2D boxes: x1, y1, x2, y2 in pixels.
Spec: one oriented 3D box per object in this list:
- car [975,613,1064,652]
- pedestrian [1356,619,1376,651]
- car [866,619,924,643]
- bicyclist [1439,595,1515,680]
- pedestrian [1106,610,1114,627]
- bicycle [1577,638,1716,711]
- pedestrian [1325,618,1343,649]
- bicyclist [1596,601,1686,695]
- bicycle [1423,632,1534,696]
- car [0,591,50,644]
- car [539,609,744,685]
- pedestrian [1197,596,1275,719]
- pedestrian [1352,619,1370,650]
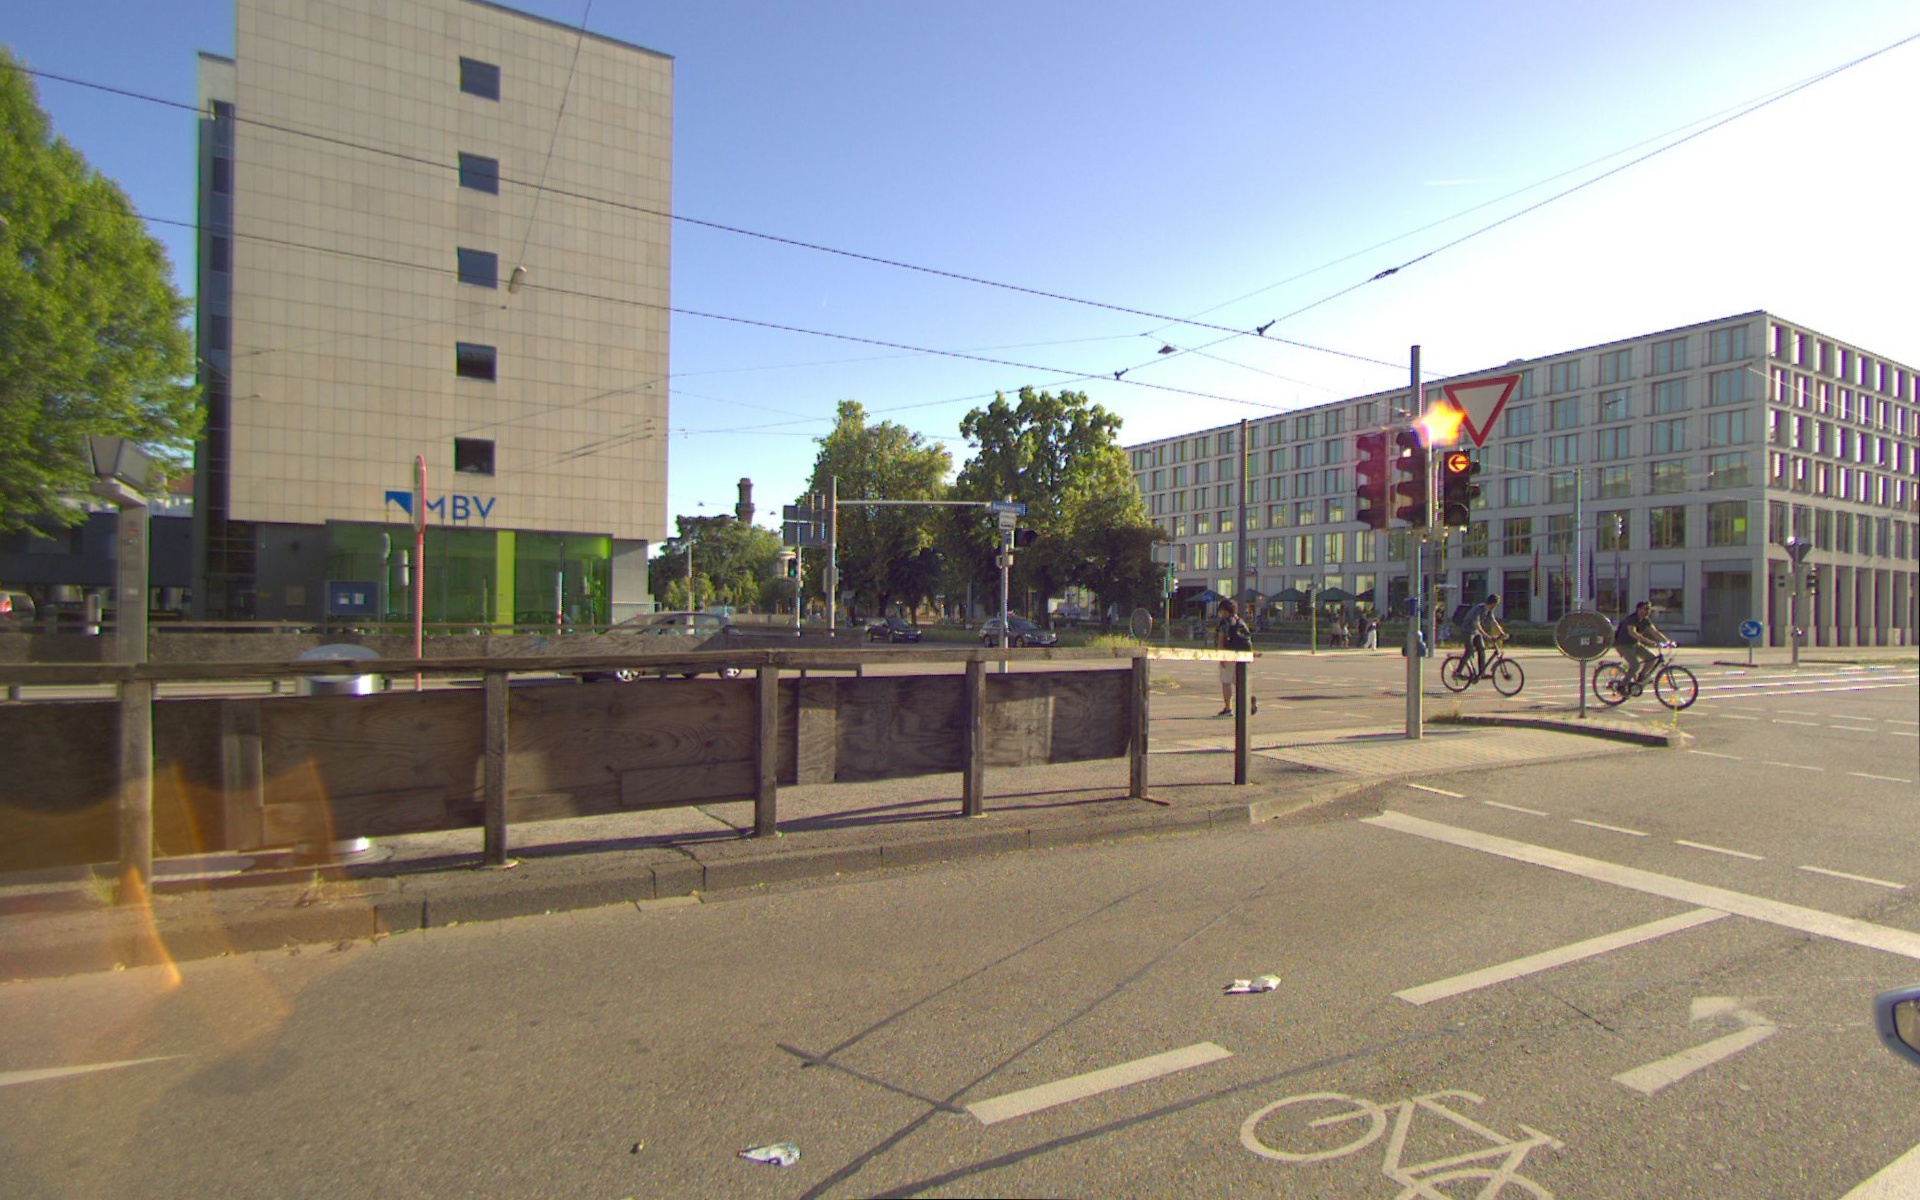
[{"bbox_3d":[2.771,1.506,47.659,1.833,1.602,4.486,1,1,-34],"label":"car"},{"bbox_3d":[21.445,1.849,53.033,0.615,1.666,0.787,1,-1,-34],"label":"pedestrian"},{"bbox_3d":[-3.867,1.816,58.966,1.755,1.311,4.209,1,-1,-30],"label":"car"},{"bbox_3d":[10.241,0.729,19.907,0.756,1.616,1.120,1,-1,-26],"label":"bicyclist"},{"bbox_3d":[14.845,1.798,99.283,0.556,1.691,0.537,2,0,-33],"label":"pedestrian"},{"bbox_3d":[11.567,1.228,16.988,0.756,1.100,1.807,-1,0,-26],"label":"bicycle"},{"bbox_3d":[20.421,1.817,54.872,0.612,1.666,0.692,1,-1,-23],"label":"pedestrian"},{"bbox_3d":[11.538,0.790,17.036,0.756,1.532,0.999,-1,0,-26],"label":"bicyclist"},{"bbox_3d":[10.230,1.238,19.882,0.756,1.174,1.866,1,-1,-26],"label":"bicycle"},{"bbox_3d":[-27.729,0.450,27.794,3.371,1.431,1.562,2,0,-20],"label":"car"},{"bbox_3d":[-6.887,0.986,21.901,3.963,1.508,1.631,2,-1,-37],"label":"car"},{"bbox_3d":[4.037,0.823,14.695,0.819,1.739,0.753,1,-1,-34],"label":"pedestrian"},{"bbox_3d":[21.822,1.857,54.712,0.615,1.666,0.690,1,-1,-34],"label":"pedestrian"}]
